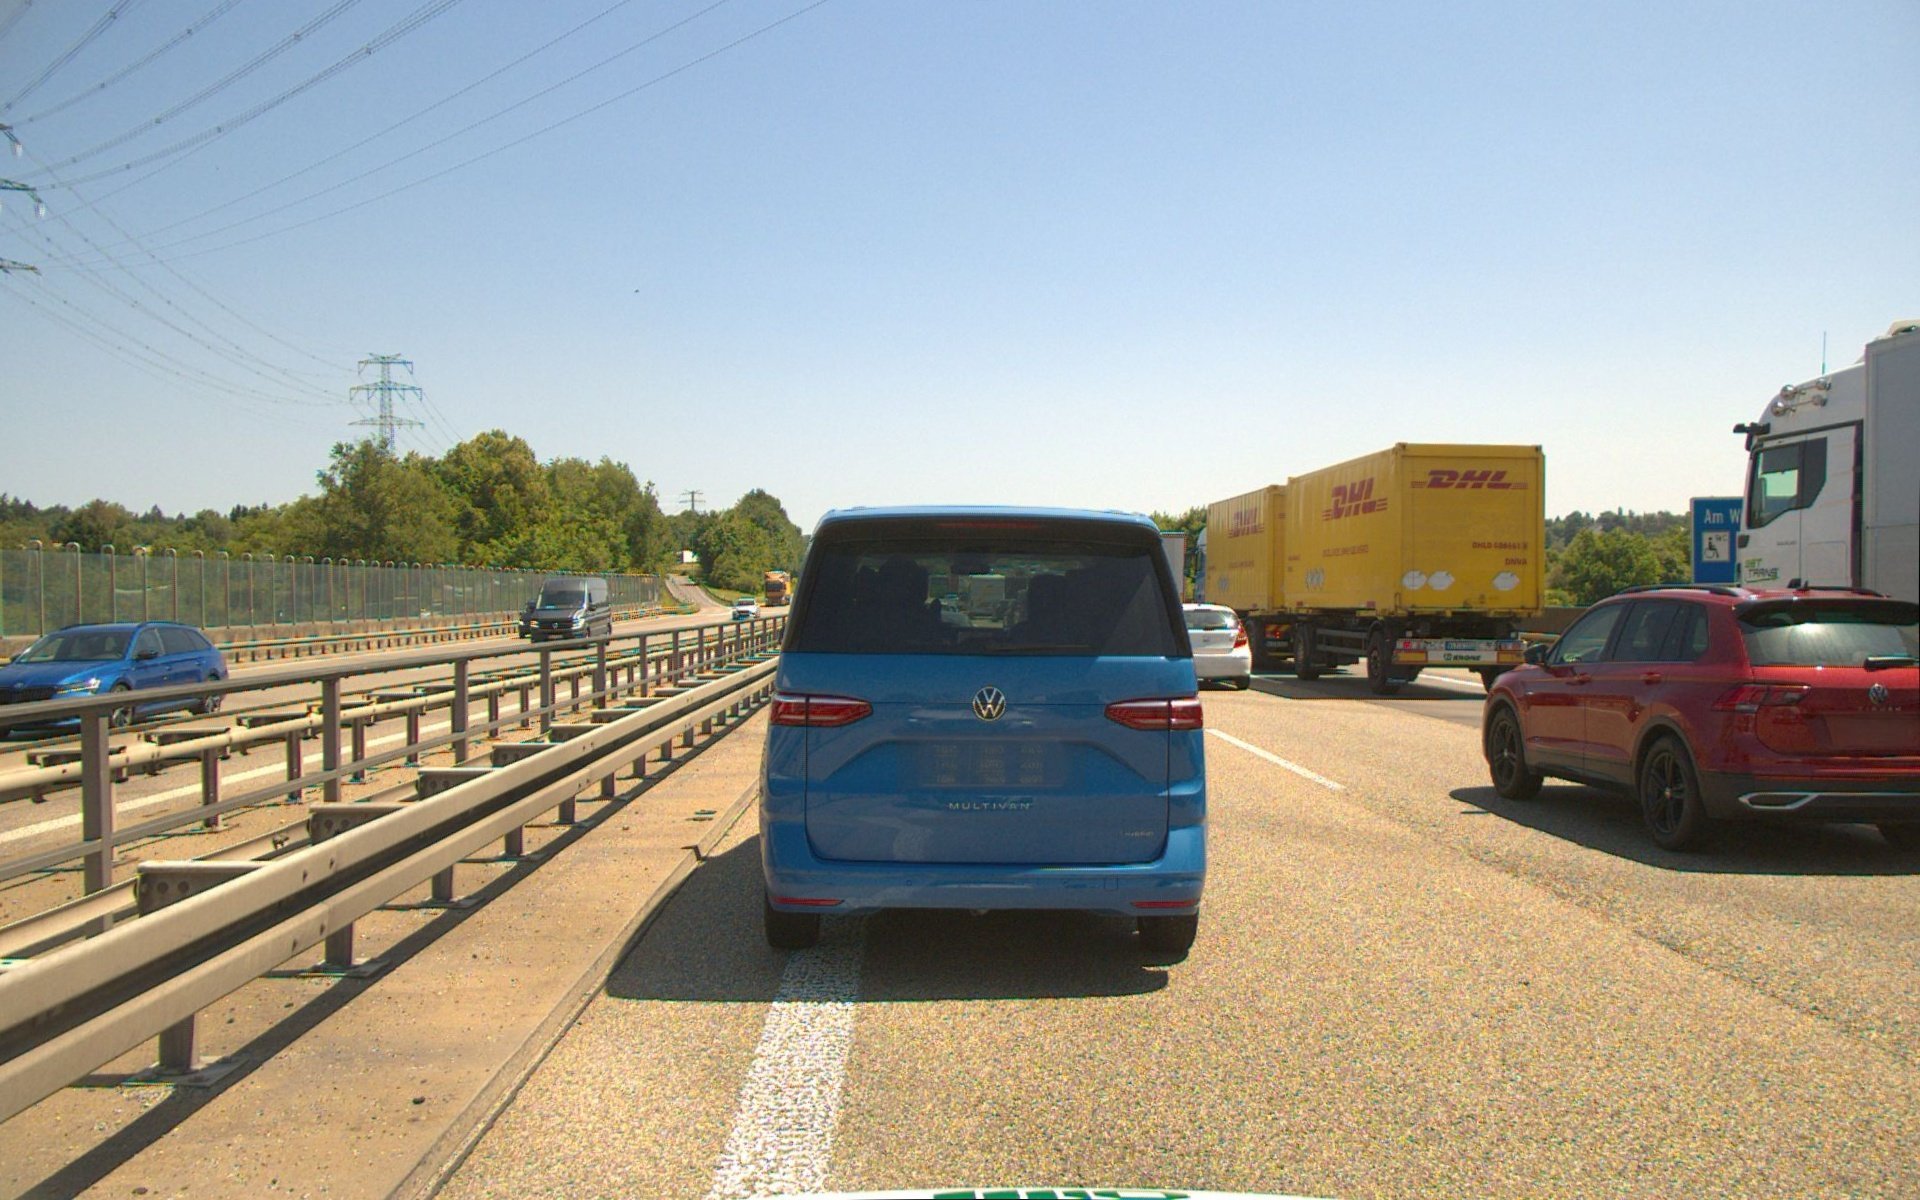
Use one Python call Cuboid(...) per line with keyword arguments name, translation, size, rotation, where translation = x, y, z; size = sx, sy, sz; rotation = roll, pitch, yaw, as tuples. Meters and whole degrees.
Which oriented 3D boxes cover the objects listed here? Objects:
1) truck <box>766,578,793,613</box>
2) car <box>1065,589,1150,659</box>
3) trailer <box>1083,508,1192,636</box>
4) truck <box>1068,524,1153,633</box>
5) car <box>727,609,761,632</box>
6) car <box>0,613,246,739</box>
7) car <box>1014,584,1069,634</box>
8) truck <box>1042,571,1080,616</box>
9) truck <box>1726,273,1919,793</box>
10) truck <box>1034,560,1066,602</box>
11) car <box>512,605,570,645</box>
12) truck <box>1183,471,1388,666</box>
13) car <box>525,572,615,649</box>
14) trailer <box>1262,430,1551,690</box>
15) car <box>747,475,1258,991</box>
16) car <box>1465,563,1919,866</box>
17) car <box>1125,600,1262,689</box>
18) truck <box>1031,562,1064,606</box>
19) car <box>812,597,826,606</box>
Cuboid(name="truck", translation=(-22.392, -0.482, 205.281), size=(2.617, 4.258, 6.287), rotation=(-1, -1, 1))
Cuboid(name="car", translation=(3.813, 0.607, 43.231), size=(1.778, 1.708, 3.931), rotation=(1, -1, -1))
Cuboid(name="trailer", translation=(7.003, -0.979, 66.823), size=(2.965, 4.692, 10.922), rotation=(1, -1, -1))
Cuboid(name="truck", translation=(6.837, -0.913, 76.243), size=(2.965, 4.692, 7.919), rotation=(1, -1, -1))
Cuboid(name="car", translation=(-15.799, 1.477, 121.342), size=(1.953, 1.571, 4.384), rotation=(-2, 0, -1))
Cuboid(name="car", translation=(-11.889, 0.986, 23.268), size=(1.736, 1.517, 4.604), rotation=(-1, 0, -1))
Cuboid(name="car", translation=(3.309, 0.373, 67.886), size=(1.922, 1.970, 3.931), rotation=(1, -1, -2))
Cuboid(name="truck", translation=(5.755, -0.334, 94.451), size=(1.761, 2.492, 4.503), rotation=(1, -1, -1))
Cuboid(name="truck", translation=(8.845, -0.520, 10.452), size=(2.794, 4.003, 10.605), rotation=(1, -1, -2))
Cuboid(name="truck", translation=(5.913, -1.213, 108.660), size=(1.760, 2.641, 4.304), rotation=(1, -1, -1))
Cuboid(name="car", translation=(-21.627, 1.290, 85.562), size=(1.918, 1.939, 4.948), rotation=(-2, 0, -3))
Cuboid(name="truck", translation=(7.709, -0.631, 40.664), size=(2.645, 4.159, 9.934), rotation=(1, -1, -2))
Cuboid(name="car", translation=(-14.353, 0.400, 61.283), size=(1.954, 2.627, 6.647), rotation=(-2, 0, -3))
Cuboid(name="trailer", translation=(8.055, -0.609, 31.253), size=(2.629, 4.159, 8.975), rotation=(1, -1, -3))
Cuboid(name="car", translation=(0.118, 0.518, 8.210), size=(1.891, 1.906, 3.999), rotation=(1, -1, -2))
Cuboid(name="car", translation=(5.159, 0.678, 11.567), size=(1.675, 1.708, 4.281), rotation=(1, -1, -4))
Cuboid(name="car", translation=(4.196, 0.777, 30.302), size=(1.779, 1.496, 3.930), rotation=(1, -1, -3))
Cuboid(name="truck", translation=(5.433, -0.970, 103.277), size=(1.706, 2.593, 4.209), rotation=(1, -1, -1))
Cuboid(name="car", translation=(-21.142, 0.211, 248.031), size=(1.654, 1.326, 4.013), rotation=(-3, -1, 2))
